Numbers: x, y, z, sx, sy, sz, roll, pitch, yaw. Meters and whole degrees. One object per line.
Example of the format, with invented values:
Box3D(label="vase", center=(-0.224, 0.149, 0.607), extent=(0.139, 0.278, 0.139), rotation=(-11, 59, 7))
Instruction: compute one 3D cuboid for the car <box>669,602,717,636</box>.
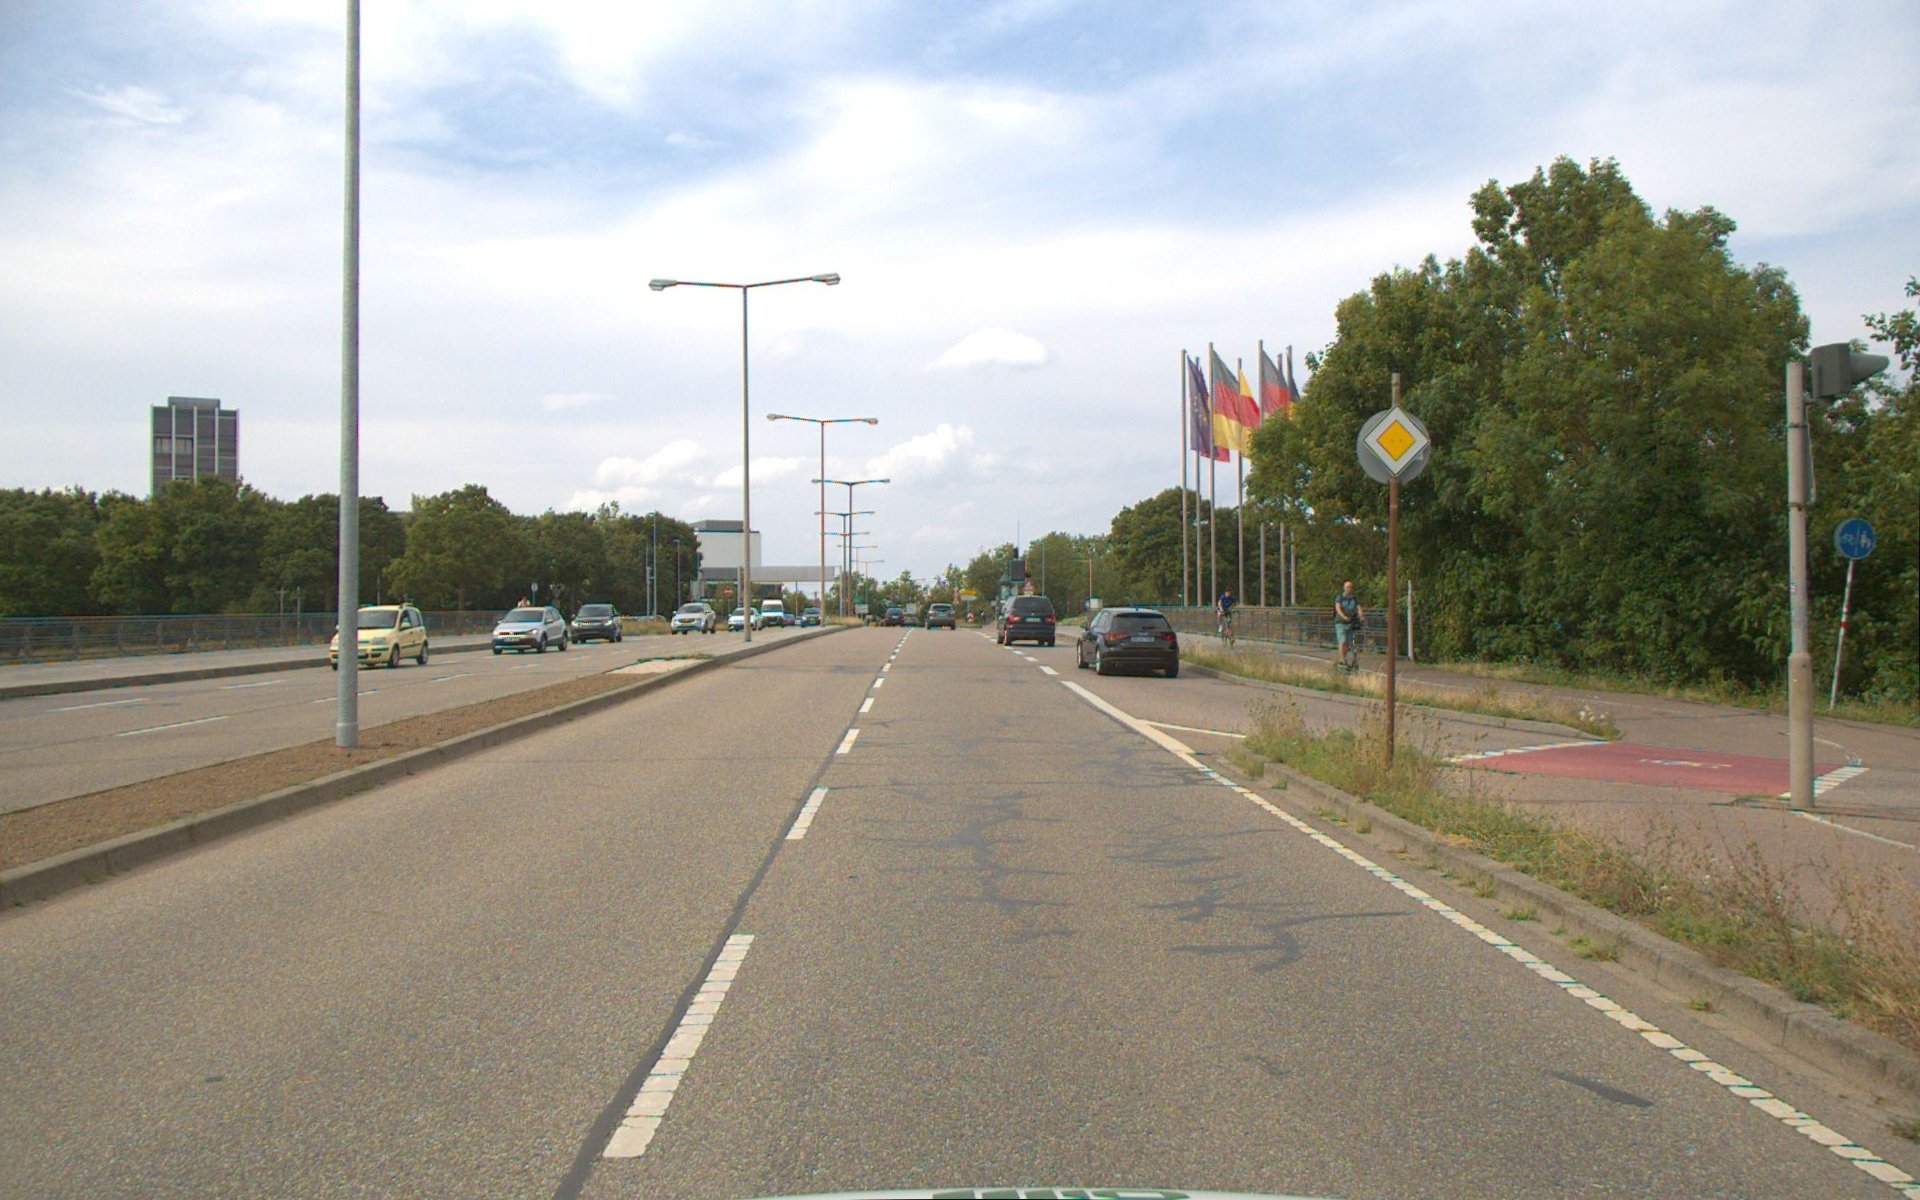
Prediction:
Box3D(label="car", center=(-14.446, 1.008, 89.603), extent=(1.825, 1.755, 4.769), rotation=(-2, 0, -1))

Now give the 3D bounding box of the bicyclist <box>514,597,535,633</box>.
Box3D(label="bicyclist", center=(-20.323, 0.683, 77.202), extent=(0.779, 1.655, 0.975), rotation=(1, -1, -4))

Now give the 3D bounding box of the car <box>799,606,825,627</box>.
Box3D(label="car", center=(-11.461, 1.298, 128.408), extent=(1.703, 1.506, 4.774), rotation=(-2, -1, -2))

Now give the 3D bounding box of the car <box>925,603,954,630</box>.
Box3D(label="car", center=(-1.292, 1.046, 104.629), extent=(1.696, 1.682, 4.112), rotation=(1, -1, -2))

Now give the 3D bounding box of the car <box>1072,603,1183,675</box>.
Box3D(label="car", center=(3.591, 0.808, 36.100), extent=(1.696, 1.419, 4.111), rotation=(0, 1, -4))

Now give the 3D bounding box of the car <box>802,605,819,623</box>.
Box3D(label="car", center=(-15.930, 1.467, 176.135), extent=(1.508, 1.904, 3.570), rotation=(-2, 0, -1))

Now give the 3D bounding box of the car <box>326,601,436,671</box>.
Box3D(label="car", center=(-14.556, 0.875, 41.740), extent=(1.517, 1.605, 3.689), rotation=(-2, 0, -2))

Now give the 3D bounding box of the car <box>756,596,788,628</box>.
Box3D(label="car", center=(-16.856, 1.066, 148.450), extent=(2.011, 2.689, 6.400), rotation=(-2, 0, 0))

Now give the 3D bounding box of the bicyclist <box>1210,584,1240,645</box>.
Box3D(label="bicyclist", center=(7.448, 0.392, 46.520), extent=(0.651, 1.688, 0.805), rotation=(1, 1, -2))

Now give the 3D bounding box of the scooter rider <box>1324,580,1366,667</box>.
Box3D(label="scooter rider", center=(7.752, 0.473, 33.317), extent=(0.576, 1.720, 0.742), rotation=(1, -1, -9))

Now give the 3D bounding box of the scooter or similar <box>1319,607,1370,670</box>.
Box3D(label="scooter or similar", center=(7.743, 0.763, 33.343), extent=(0.577, 1.246, 1.200), rotation=(1, -1, -9))

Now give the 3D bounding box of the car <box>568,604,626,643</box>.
Box3D(label="car", center=(-15.048, 0.964, 68.752), extent=(1.705, 1.542, 4.312), rotation=(-2, 0, -4))

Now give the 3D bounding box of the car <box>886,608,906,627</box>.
Box3D(label="car", center=(-5.785, 1.559, 149.661), extent=(1.695, 1.682, 4.114), rotation=(1, -1, -1))

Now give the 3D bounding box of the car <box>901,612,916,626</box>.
Box3D(label="car", center=(-5.817, 2.163, 186.966), extent=(1.696, 1.553, 4.112), rotation=(1, -1, -2))

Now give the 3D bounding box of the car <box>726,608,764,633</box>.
Box3D(label="car", center=(-13.776, 1.273, 106.178), extent=(1.702, 1.506, 4.472), rotation=(-2, 0, 1))

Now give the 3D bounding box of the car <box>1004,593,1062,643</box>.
Box3D(label="car", center=(2.533, 0.652, 58.282), extent=(1.696, 1.682, 4.112), rotation=(1, -1, -2))

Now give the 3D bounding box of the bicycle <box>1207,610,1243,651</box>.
Box3D(label="bicycle", center=(7.427, 0.838, 46.432), extent=(0.565, 1.040, 1.975), rotation=(-3, 1, -2))

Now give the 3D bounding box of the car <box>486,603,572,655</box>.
Box3D(label="car", center=(-14.056, 0.912, 54.199), extent=(1.615, 1.542, 4.017), rotation=(-2, 0, 2))
